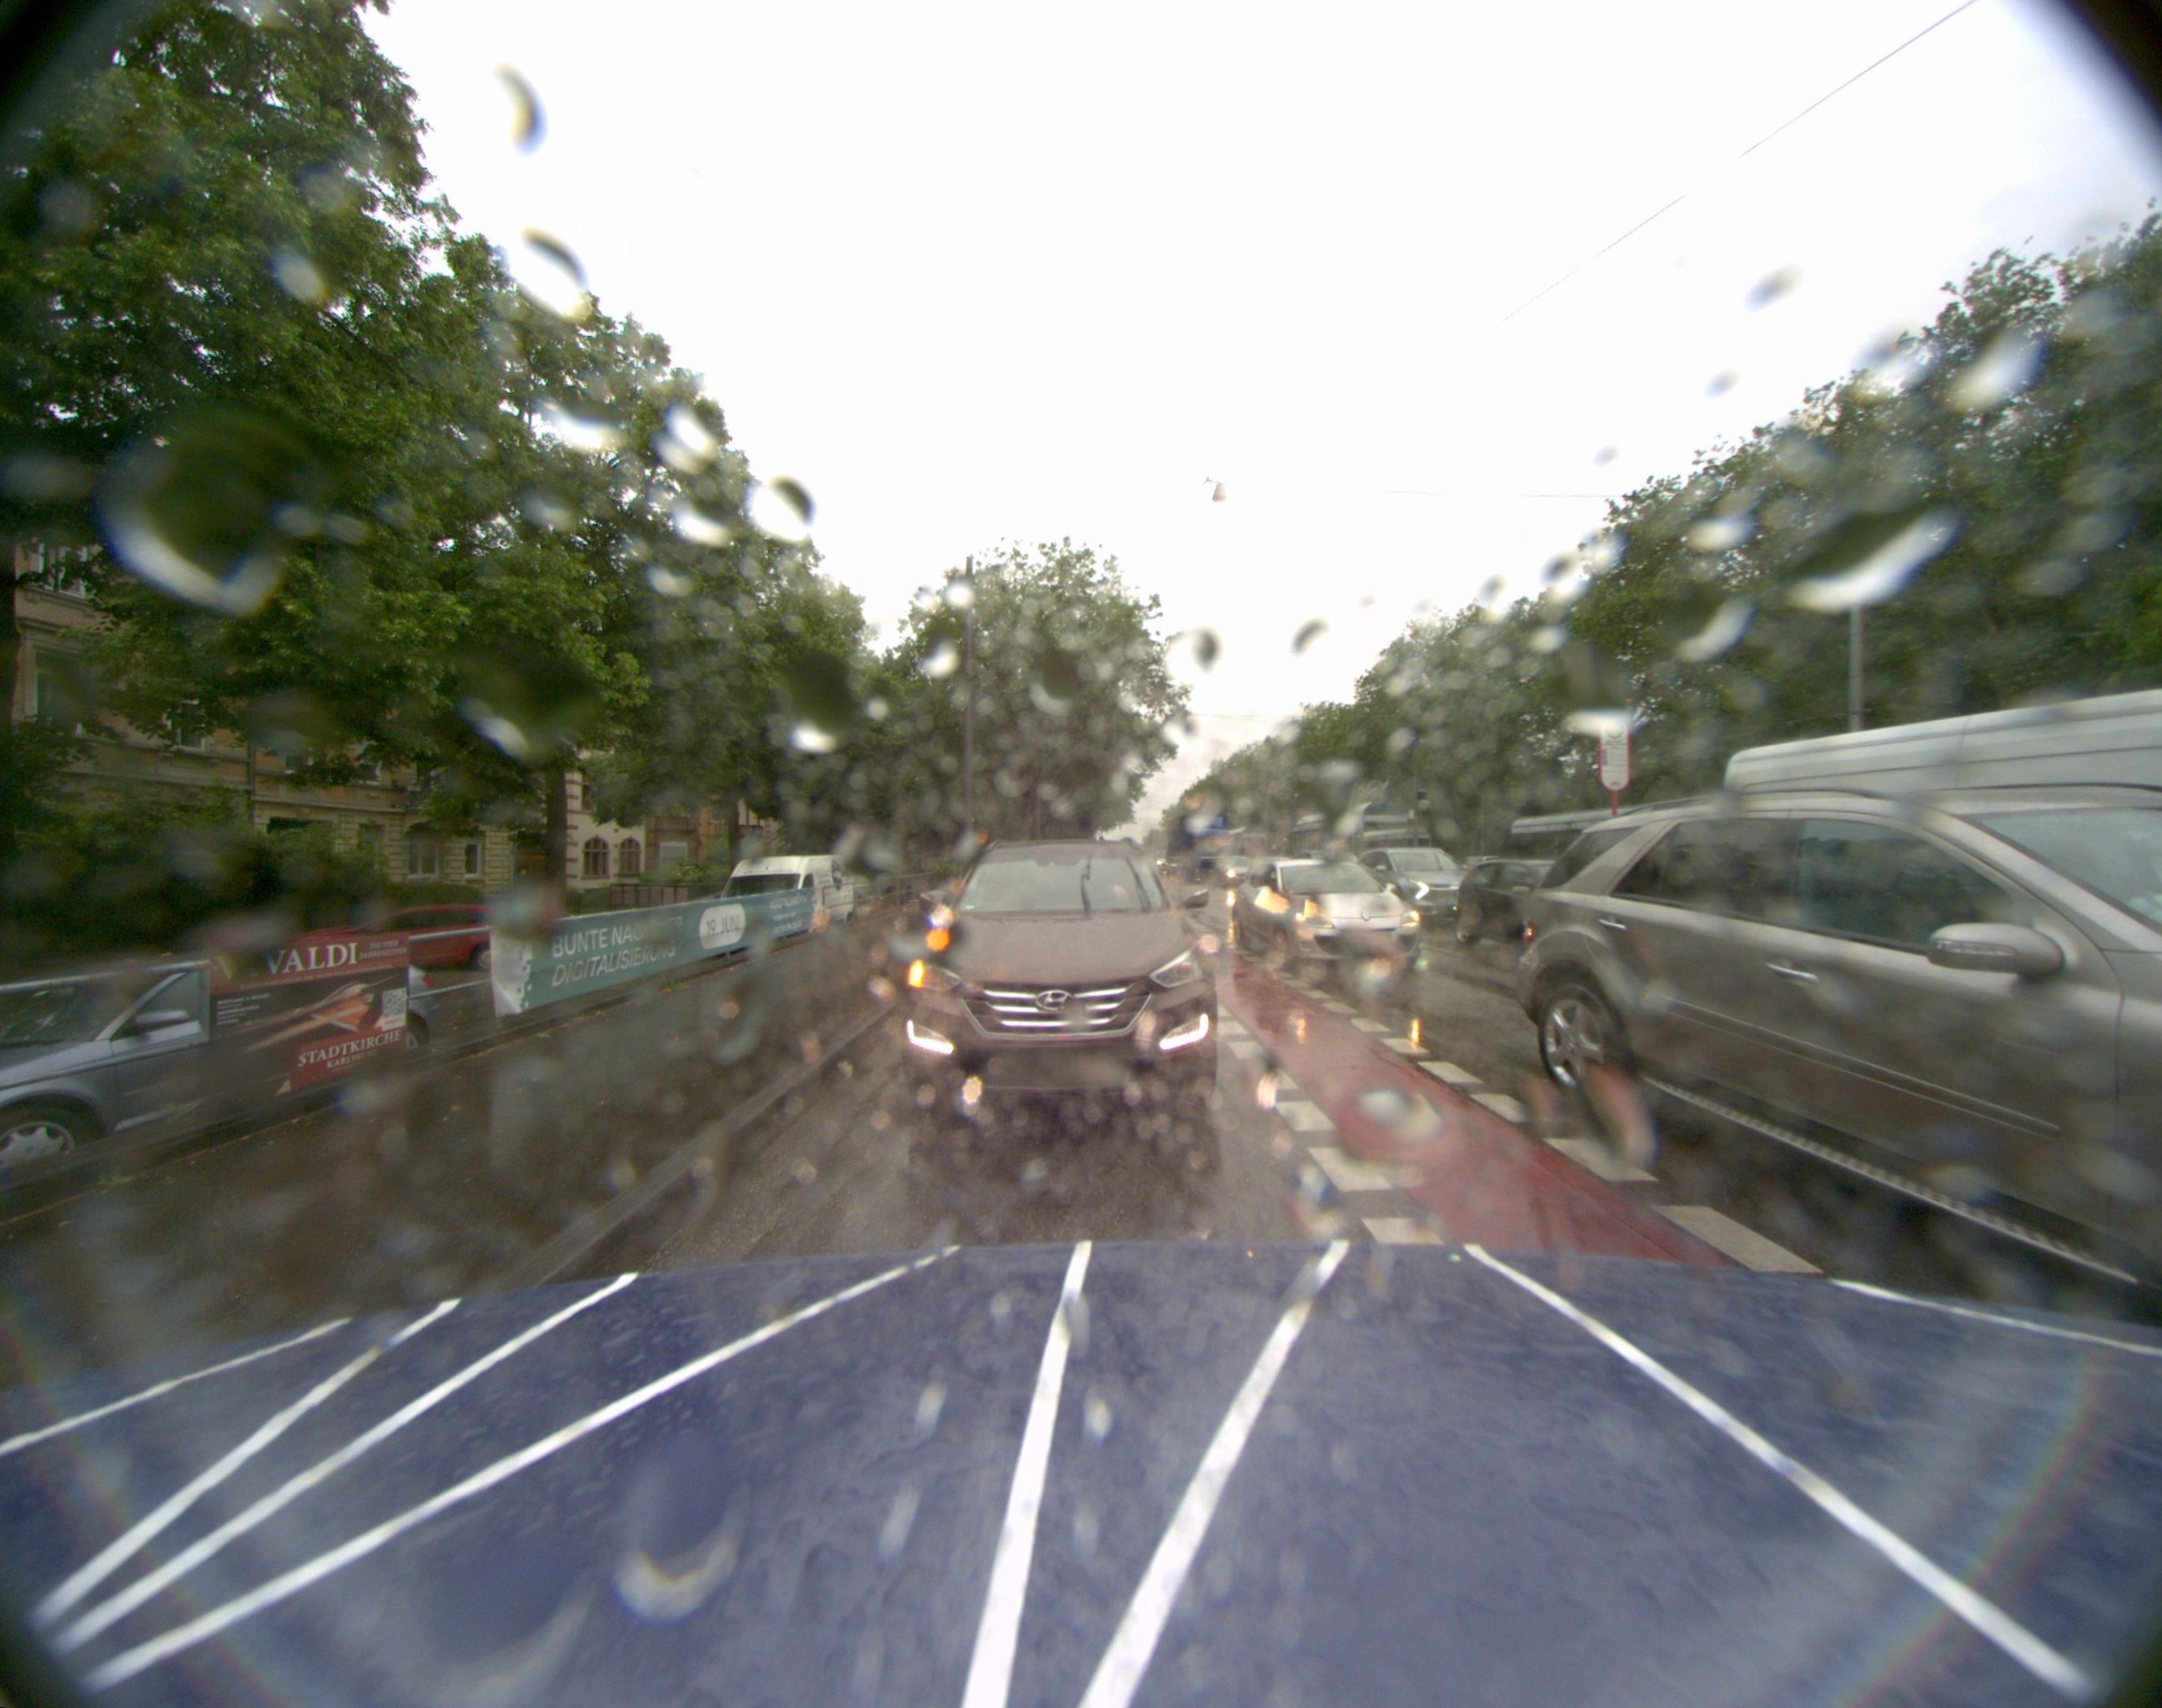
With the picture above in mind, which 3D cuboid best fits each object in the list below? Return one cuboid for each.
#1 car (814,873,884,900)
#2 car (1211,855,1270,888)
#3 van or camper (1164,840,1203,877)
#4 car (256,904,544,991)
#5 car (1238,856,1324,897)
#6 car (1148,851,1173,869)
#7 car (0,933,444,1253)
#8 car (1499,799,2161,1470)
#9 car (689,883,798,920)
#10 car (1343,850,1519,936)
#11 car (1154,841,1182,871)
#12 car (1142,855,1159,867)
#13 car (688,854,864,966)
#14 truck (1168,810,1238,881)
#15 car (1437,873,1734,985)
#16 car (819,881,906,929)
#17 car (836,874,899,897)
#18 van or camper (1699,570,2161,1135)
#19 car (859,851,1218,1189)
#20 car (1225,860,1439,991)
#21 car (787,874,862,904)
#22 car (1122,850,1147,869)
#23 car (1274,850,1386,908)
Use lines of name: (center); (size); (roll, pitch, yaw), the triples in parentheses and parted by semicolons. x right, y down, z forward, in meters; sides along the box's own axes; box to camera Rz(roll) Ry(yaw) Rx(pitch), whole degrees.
car: (-15.363, 2.125, 50.310); (4.007, 1.557, 1.995); (-2, 1, -34)
car: (7.586, 0.793, 36.398); (1.895, 1.478, 4.077); (-1, 0, -1)
van or camper: (7.631, 0.284, 57.103); (1.998, 2.555, 6.431); (-2, 0, 0)
car: (-14.626, 1.953, 16.732); (4.439, 1.444, 1.894); (0, -1, -32)
car: (7.526, 0.791, 29.052); (1.999, 1.386, 4.606); (0, 0, -1)
car: (7.616, 0.565, 73.319); (1.998, 1.568, 4.000); (-2, 0, 1)
car: (-7.234, 1.593, 5.532); (1.736, 1.530, 4.074); (-2, 0, -1)
car: (3.823, 0.704, 2.836); (2.030, 1.760, 4.462); (-2, 0, 0)
car: (-14.859, 2.053, 33.492); (4.269, 1.372, 1.687); (-1, 1, -27)
car: (7.394, 0.731, 16.627); (1.919, 1.614, 4.454); (0, 0, 2)
car: (7.479, 0.121, 65.859); (1.998, 2.412, 5.727); (-2, 0, 3)
car: (7.315, 0.698, 80.011); (1.467, 1.185, 3.615); (-2, 0, 0)
car: (-7.704, 1.252, 20.088); (2.214, 2.406, 6.157); (-3, 0, -2)
truck: (7.222, -0.484, 46.426); (2.545, 3.866, 9.810); (1, 0, -1)
car: (6.743, 0.913, 10.759); (1.467, 1.111, 4.087); (-2, 0, 0)
car: (-7.716, 1.767, 27.302); (1.972, 1.345, 4.383); (-3, 0, -3)
car: (-15.539, 2.241, 55.348); (4.007, 1.455, 1.908); (-2, 1, -34)
van or camper: (7.054, -0.014, 4.367); (2.164, 3.123, 5.850); (0, 0, -1)
car: (-0.150, 0.838, 5.656); (1.756, 1.657, 3.678); (-2, 0, 2)
car: (3.396, 0.872, 11.121); (1.772, 1.469, 4.000); (-2, 0, 0)
car: (-15.722, 2.124, 46.657); (4.006, 1.599, 1.821); (-2, 1, -31)
car: (4.579, 0.476, 65.614); (1.899, 1.569, 3.999); (0, 0, 0)
car: (7.568, 0.689, 23.574); (1.999, 1.611, 4.319); (-1, 0, -1)
